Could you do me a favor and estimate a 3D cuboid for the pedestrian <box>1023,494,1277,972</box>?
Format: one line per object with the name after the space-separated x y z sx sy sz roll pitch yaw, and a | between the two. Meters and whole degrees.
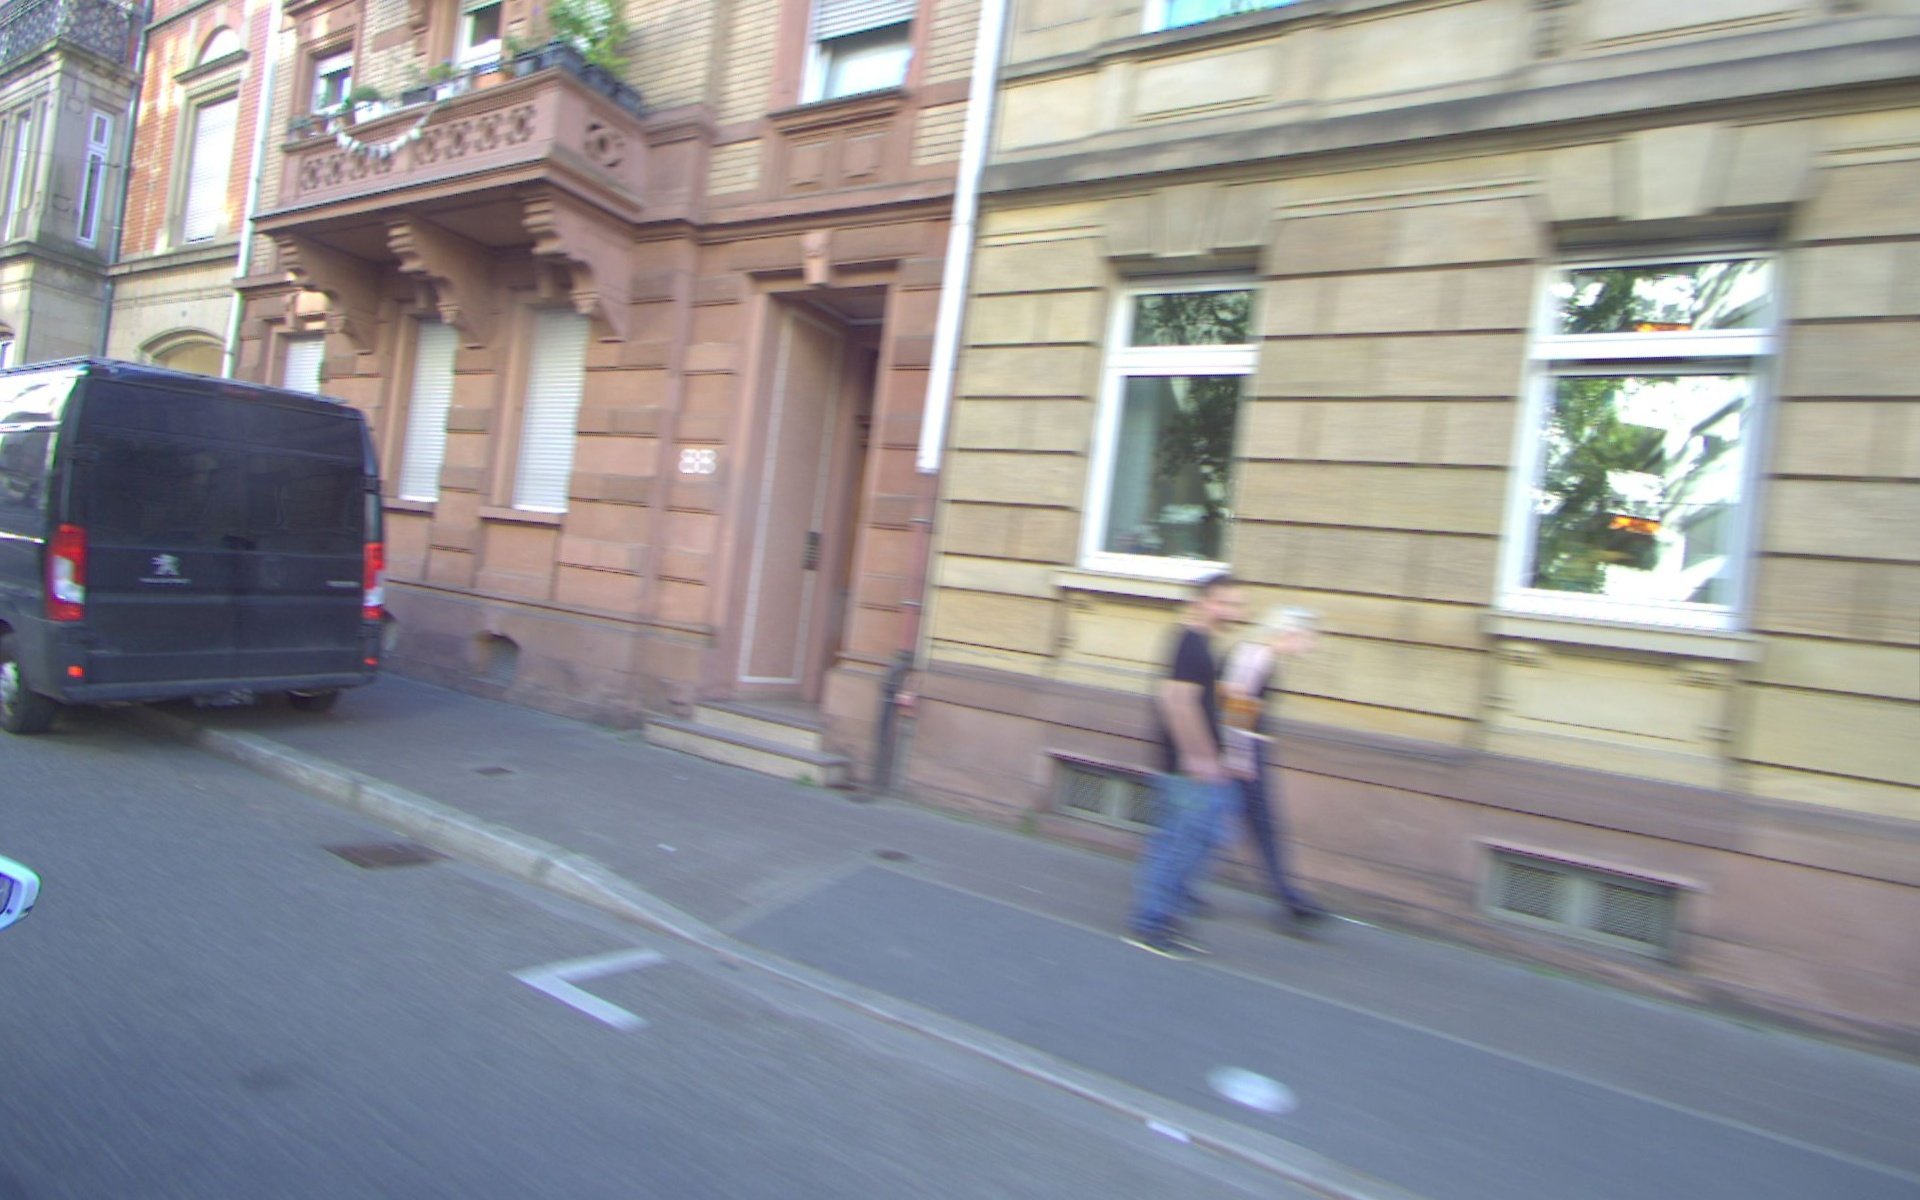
0.913 0.580 4.800 0.809 2.038 0.586 7 0 30 | pedestrian

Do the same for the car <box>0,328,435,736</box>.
-7.224 -0.596 8.551 5.627 2.466 2.273 7 0 34 | car

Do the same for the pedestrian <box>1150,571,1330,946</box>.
1.489 0.797 5.330 0.596 1.804 0.554 7 0 30 | pedestrian
